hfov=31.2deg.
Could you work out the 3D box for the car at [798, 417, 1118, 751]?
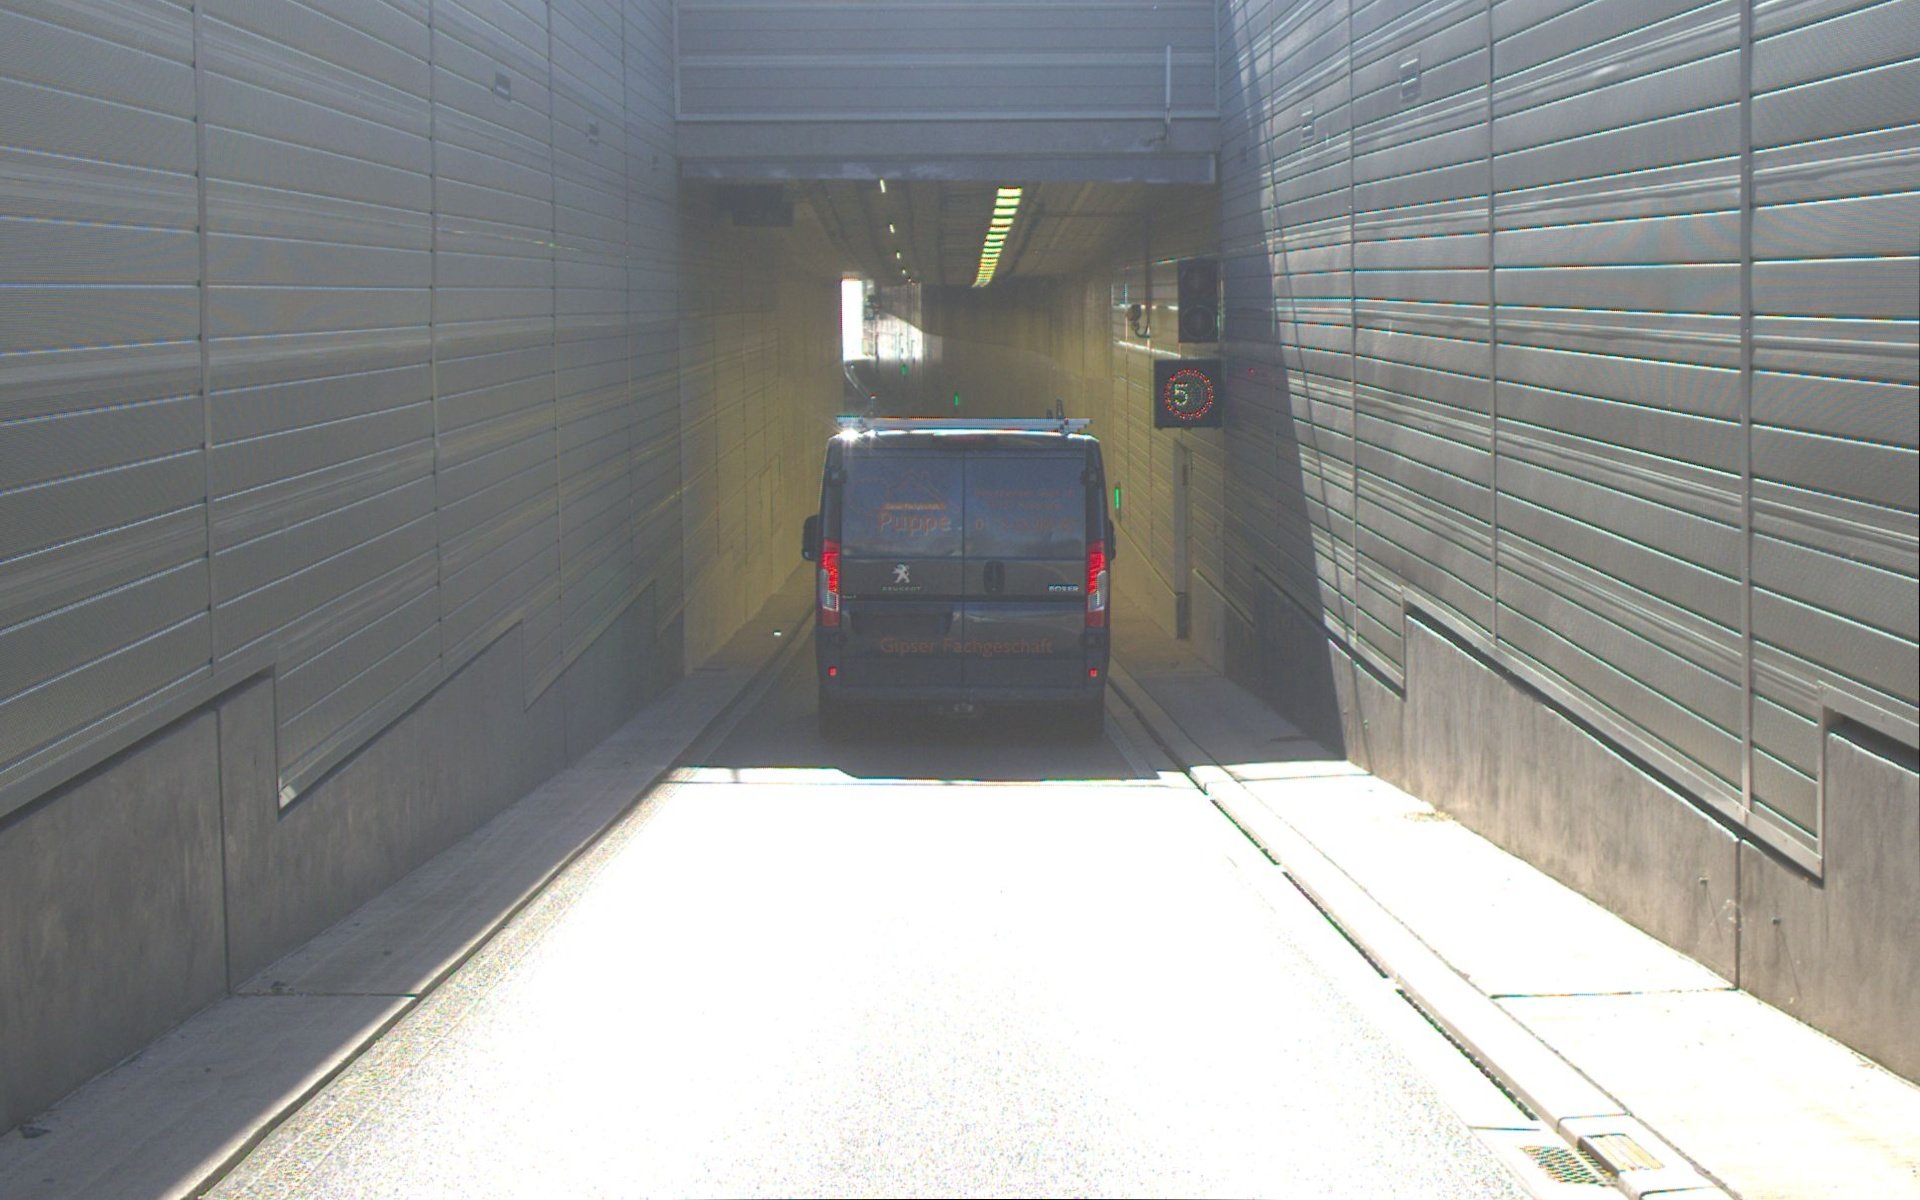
[{"bbox_3d":[-0.009,-0.170,25.643,2.158,2.258,4.637,0,1,0],"label":"car"}]
